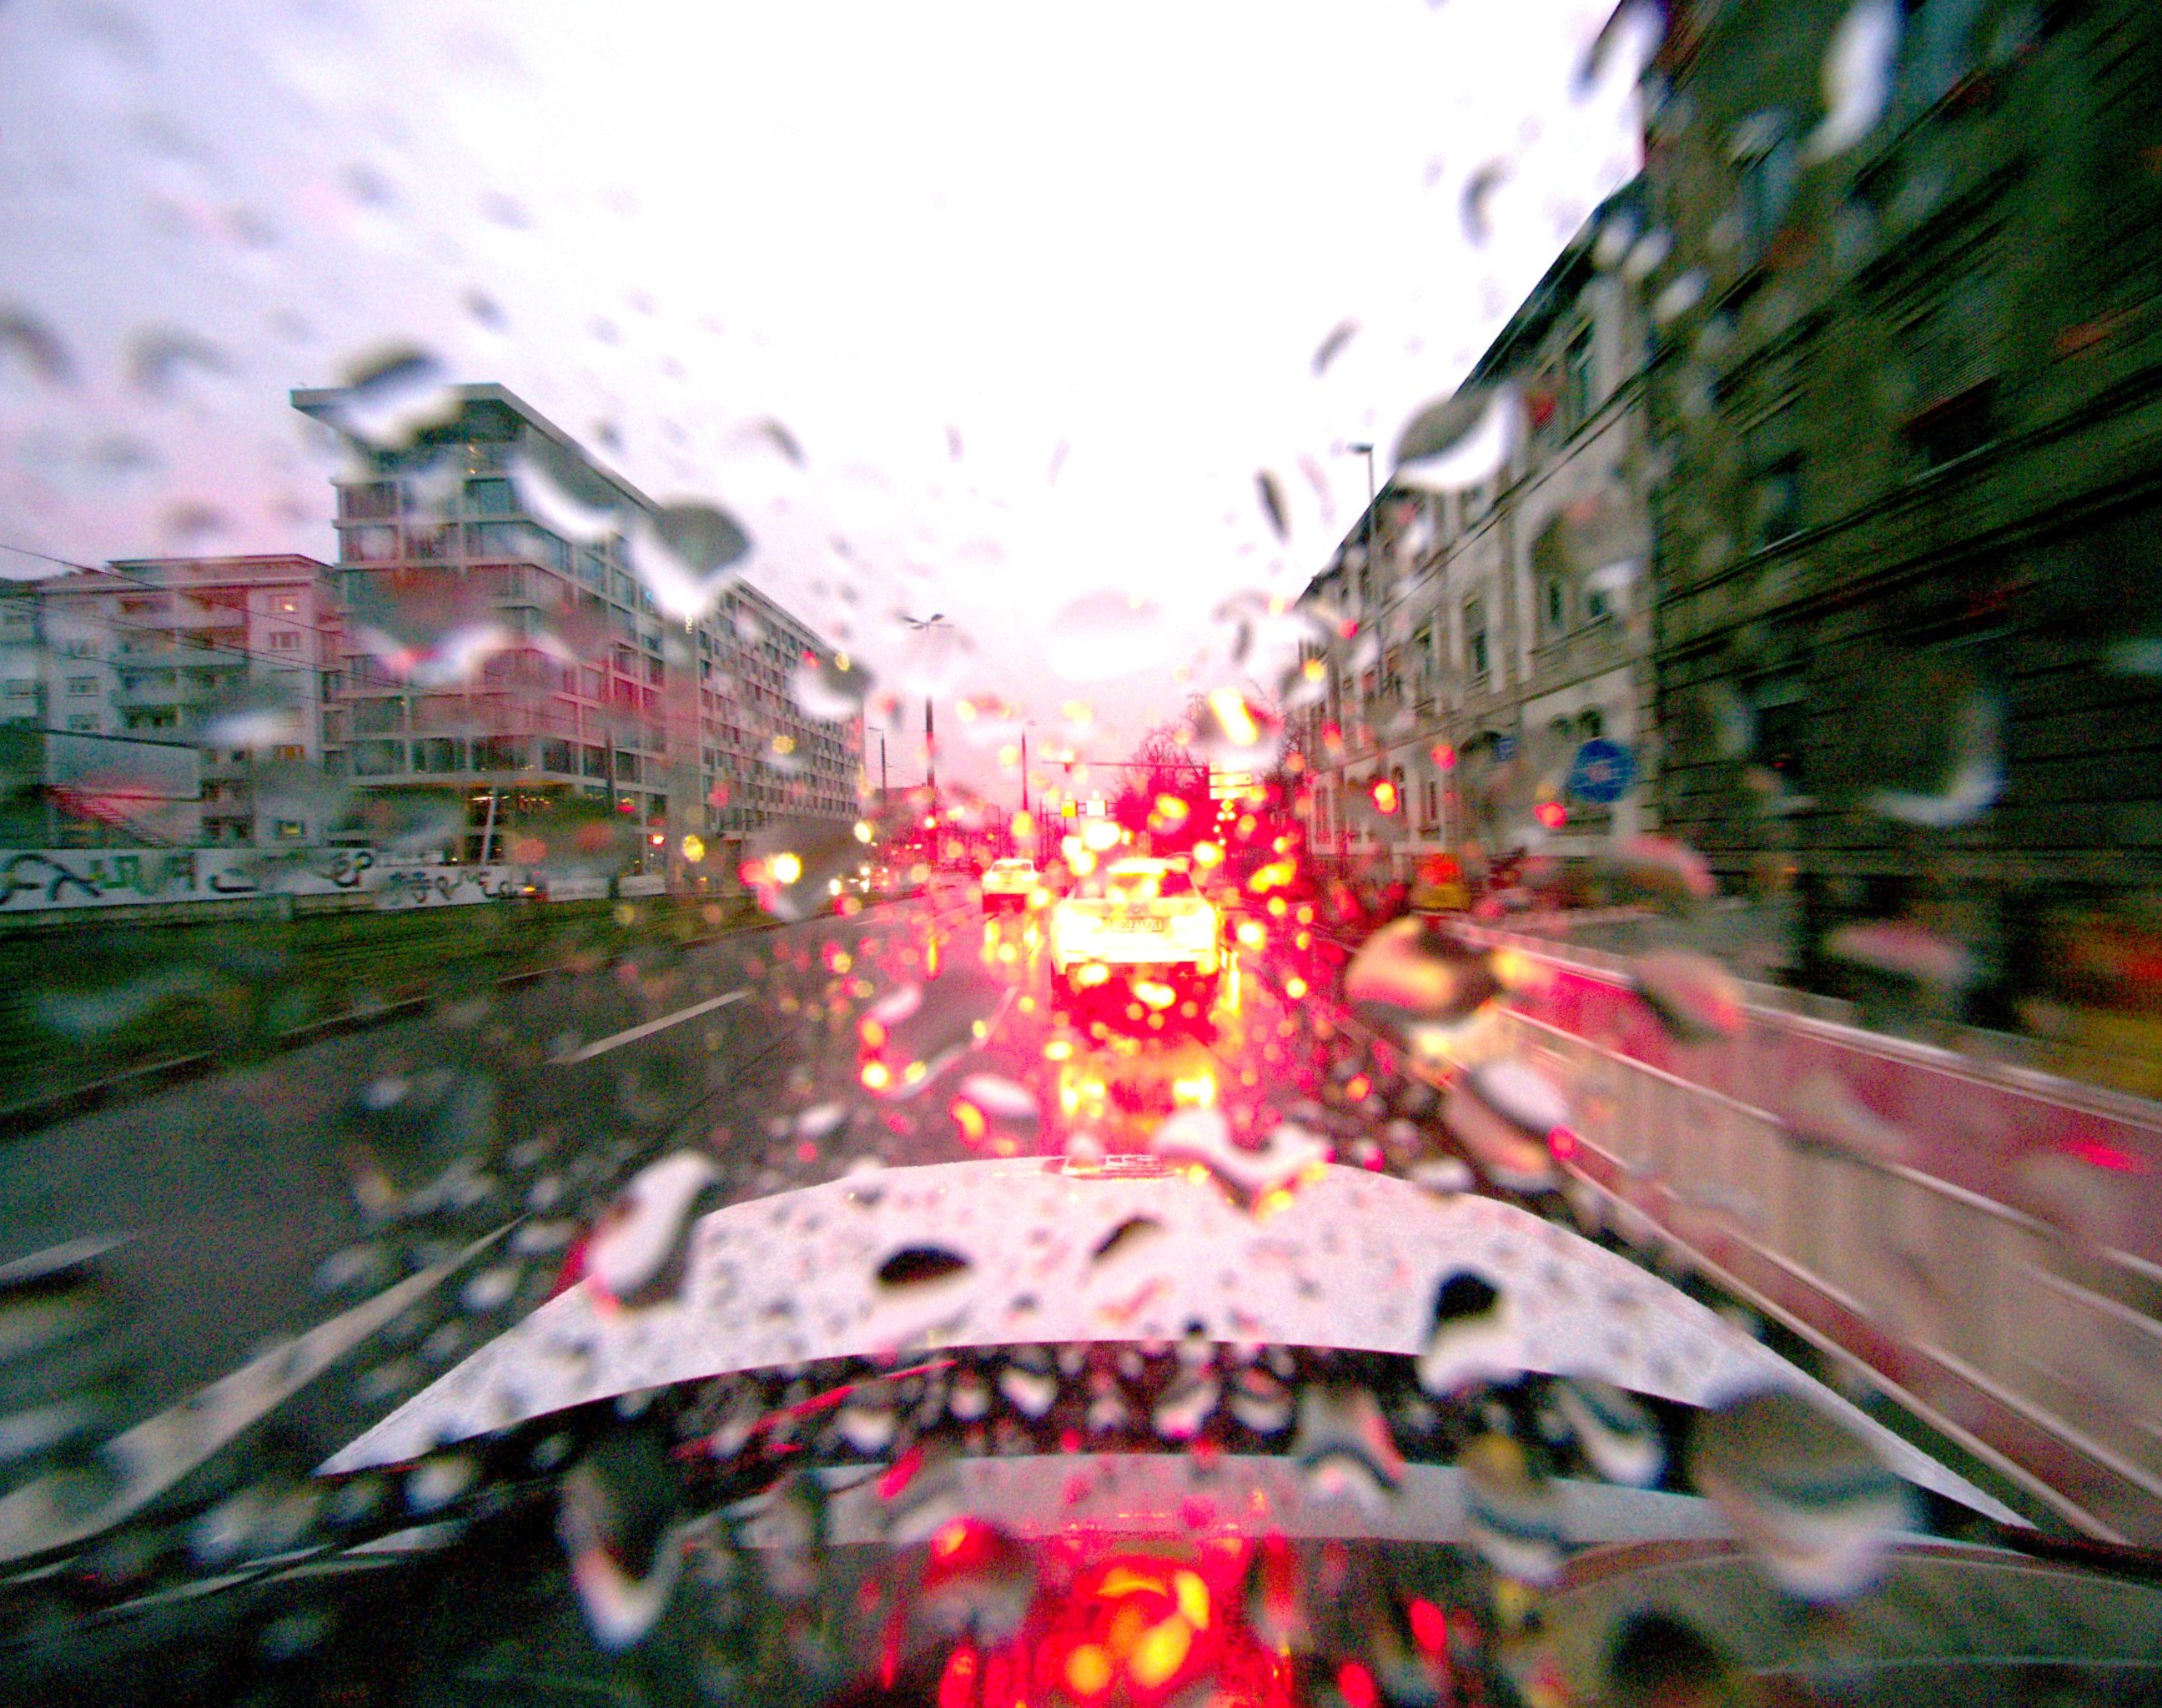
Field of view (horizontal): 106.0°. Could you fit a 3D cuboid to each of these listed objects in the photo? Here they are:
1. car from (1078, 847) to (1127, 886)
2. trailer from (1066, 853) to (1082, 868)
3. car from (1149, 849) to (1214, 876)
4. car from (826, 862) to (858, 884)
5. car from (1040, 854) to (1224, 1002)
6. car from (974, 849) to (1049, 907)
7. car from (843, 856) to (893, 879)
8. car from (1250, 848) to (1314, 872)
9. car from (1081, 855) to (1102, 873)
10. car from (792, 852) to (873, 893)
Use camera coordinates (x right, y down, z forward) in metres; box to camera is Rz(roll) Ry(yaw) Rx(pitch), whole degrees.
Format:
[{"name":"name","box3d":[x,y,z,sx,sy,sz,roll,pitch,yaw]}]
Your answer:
[{"name":"car","box3d":[0.996,0.500,35.110,1.832,1.519,4.005,-1,0,5]},{"name":"trailer","box3d":[-0.864,0.713,95.617,1.828,1.643,3.999,-1,0,-1]},{"name":"car","box3d":[6.933,0.585,56.196,3.949,1.797,1.862,-1,0,29]},{"name":"car","box3d":[-18.639,1.445,63.679,1.857,1.640,4.020,-1,0,-9]},{"name":"car","box3d":[0.573,0.754,10.775,1.845,1.465,4.948,-1,0,1]},{"name":"car","box3d":[-2.122,0.709,25.950,1.894,1.642,4.002,-1,0,2]},{"name":"car","box3d":[-14.495,0.922,55.411,3.498,1.492,1.755,-1,0,45]},{"name":"car","box3d":[13.927,0.404,56.503,3.949,1.560,1.862,-1,0,27]},{"name":"car","box3d":[1.002,0.934,77.773,1.894,1.642,4.002,-1,0,2]},{"name":"car","box3d":[-13.151,0.957,43.181,3.997,1.975,1.988,-1,0,-17]}]
